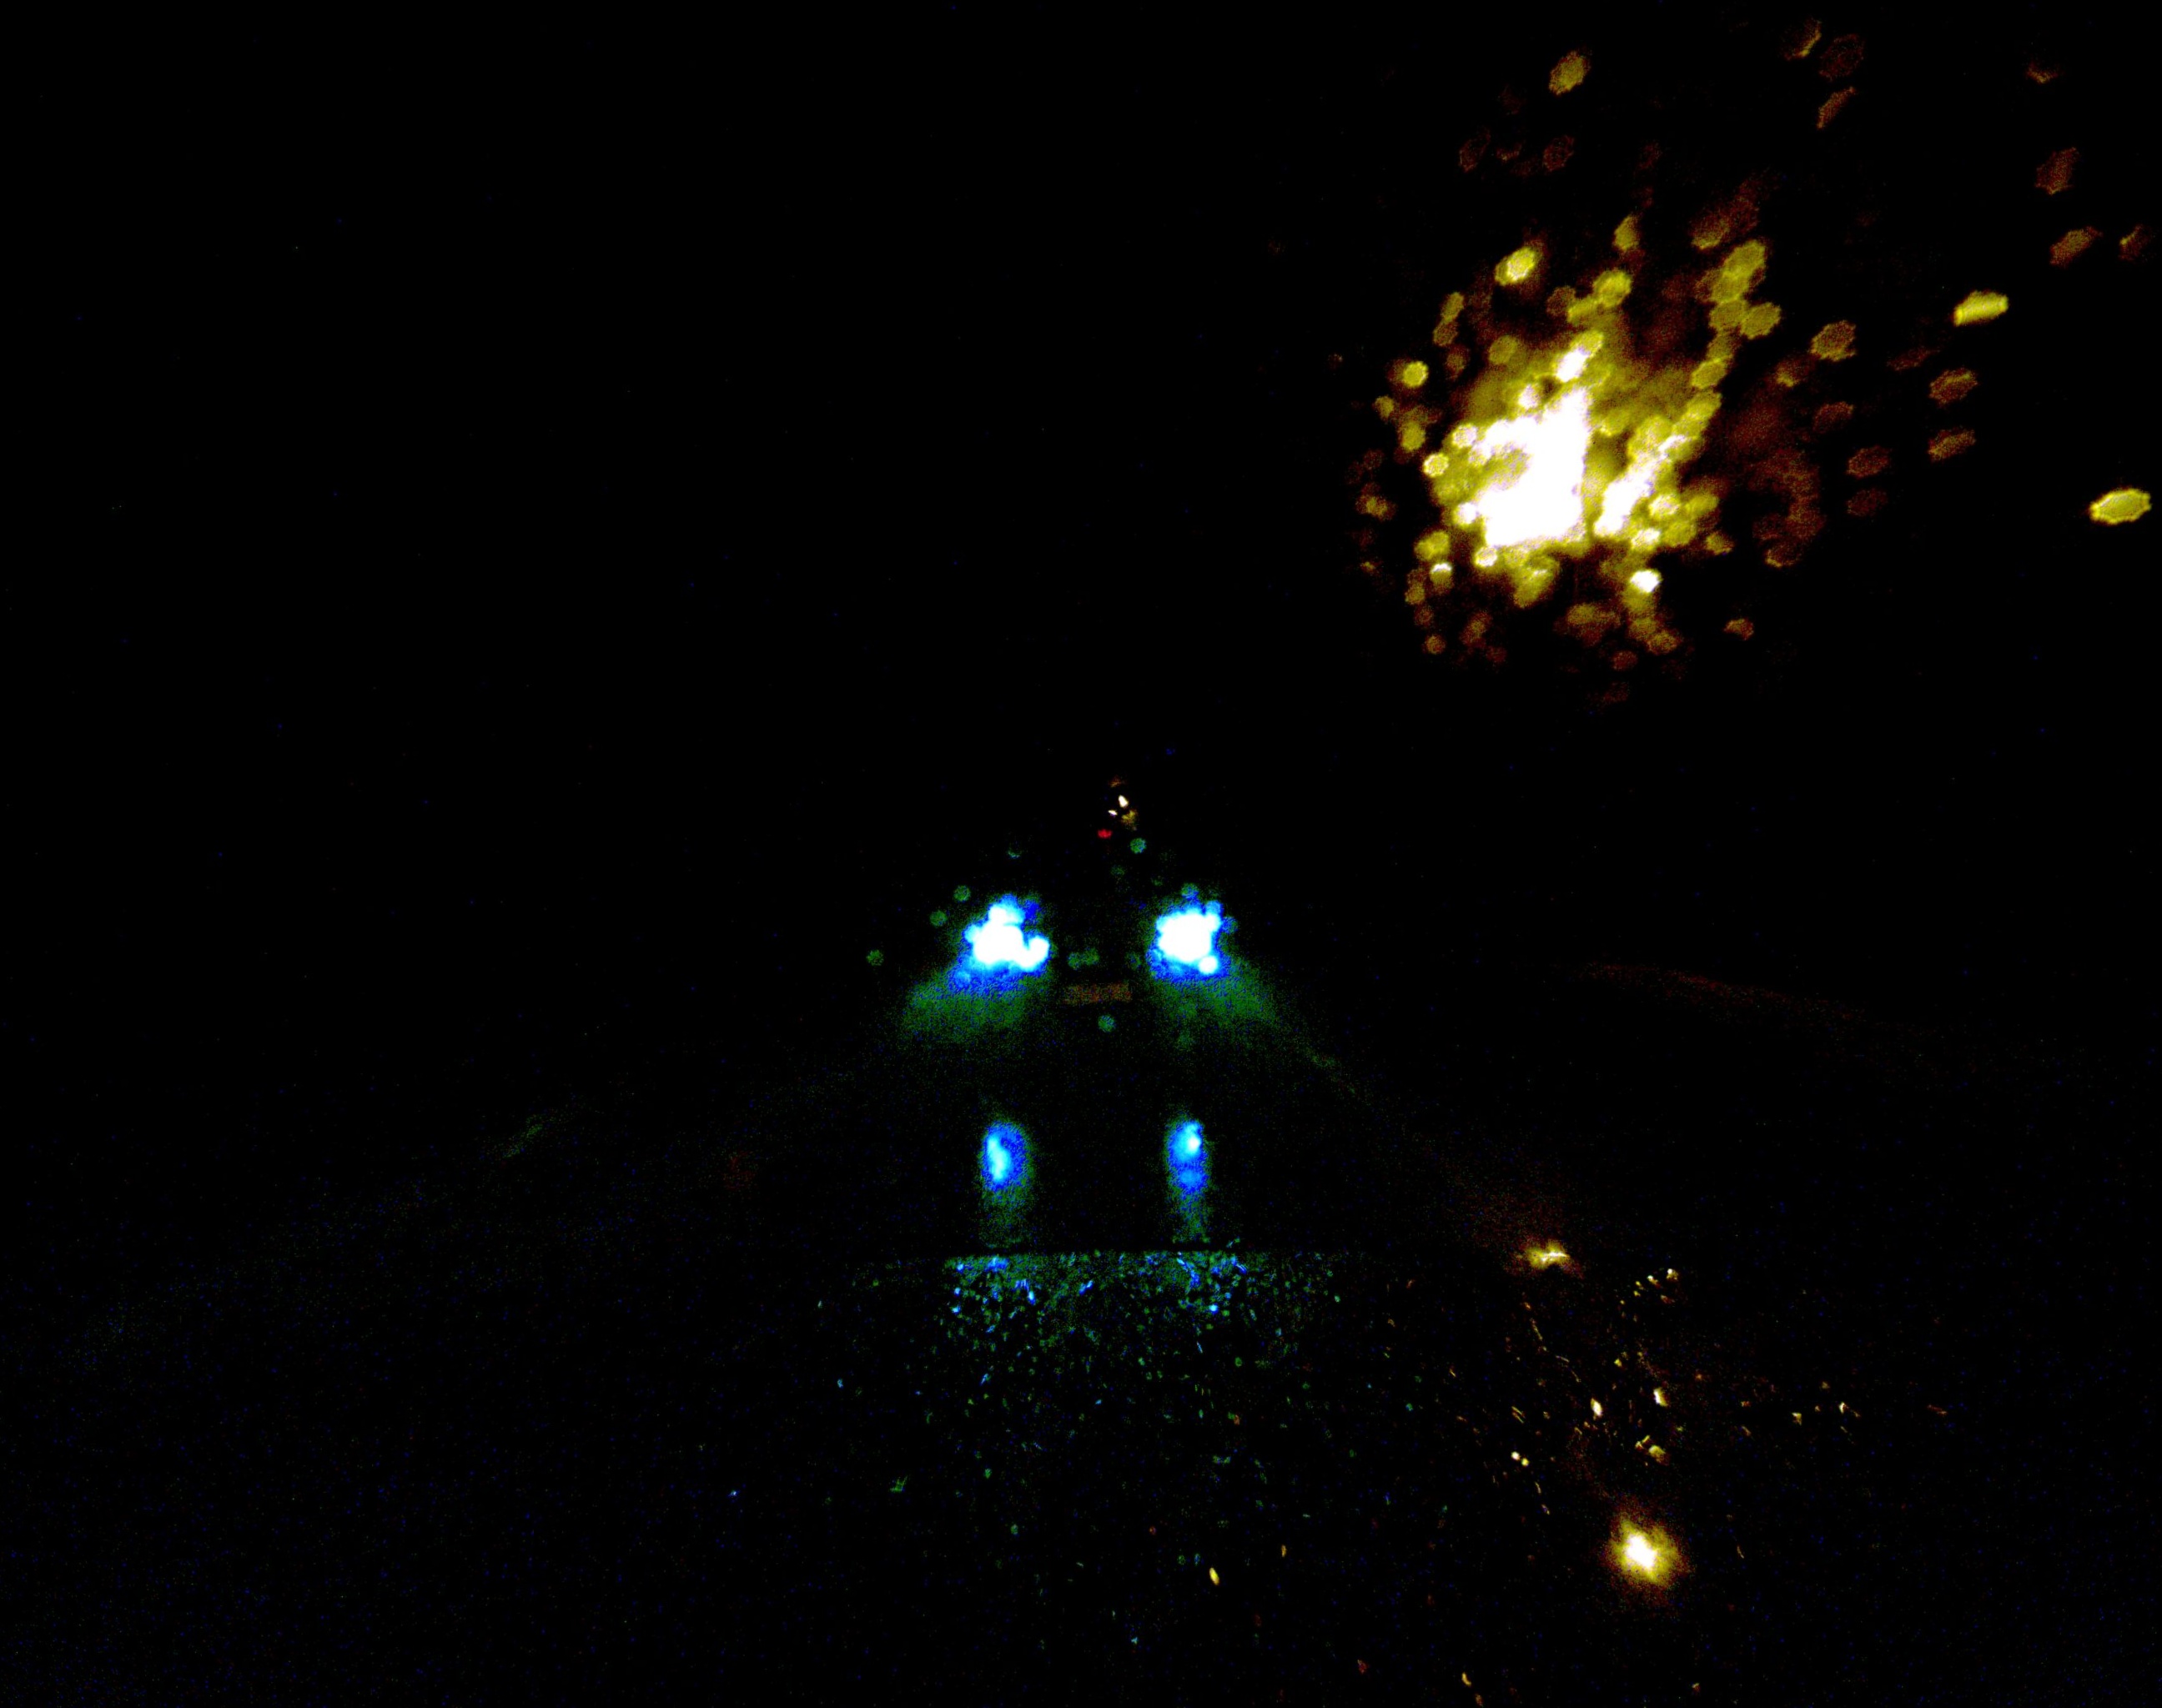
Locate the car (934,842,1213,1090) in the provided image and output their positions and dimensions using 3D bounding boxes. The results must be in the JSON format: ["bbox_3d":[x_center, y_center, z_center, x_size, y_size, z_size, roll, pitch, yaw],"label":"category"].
[{"bbox_3d":[0.089,0.754,7.410,1.893,1.678,4.340,-1,1,4],"label":"car"}]
